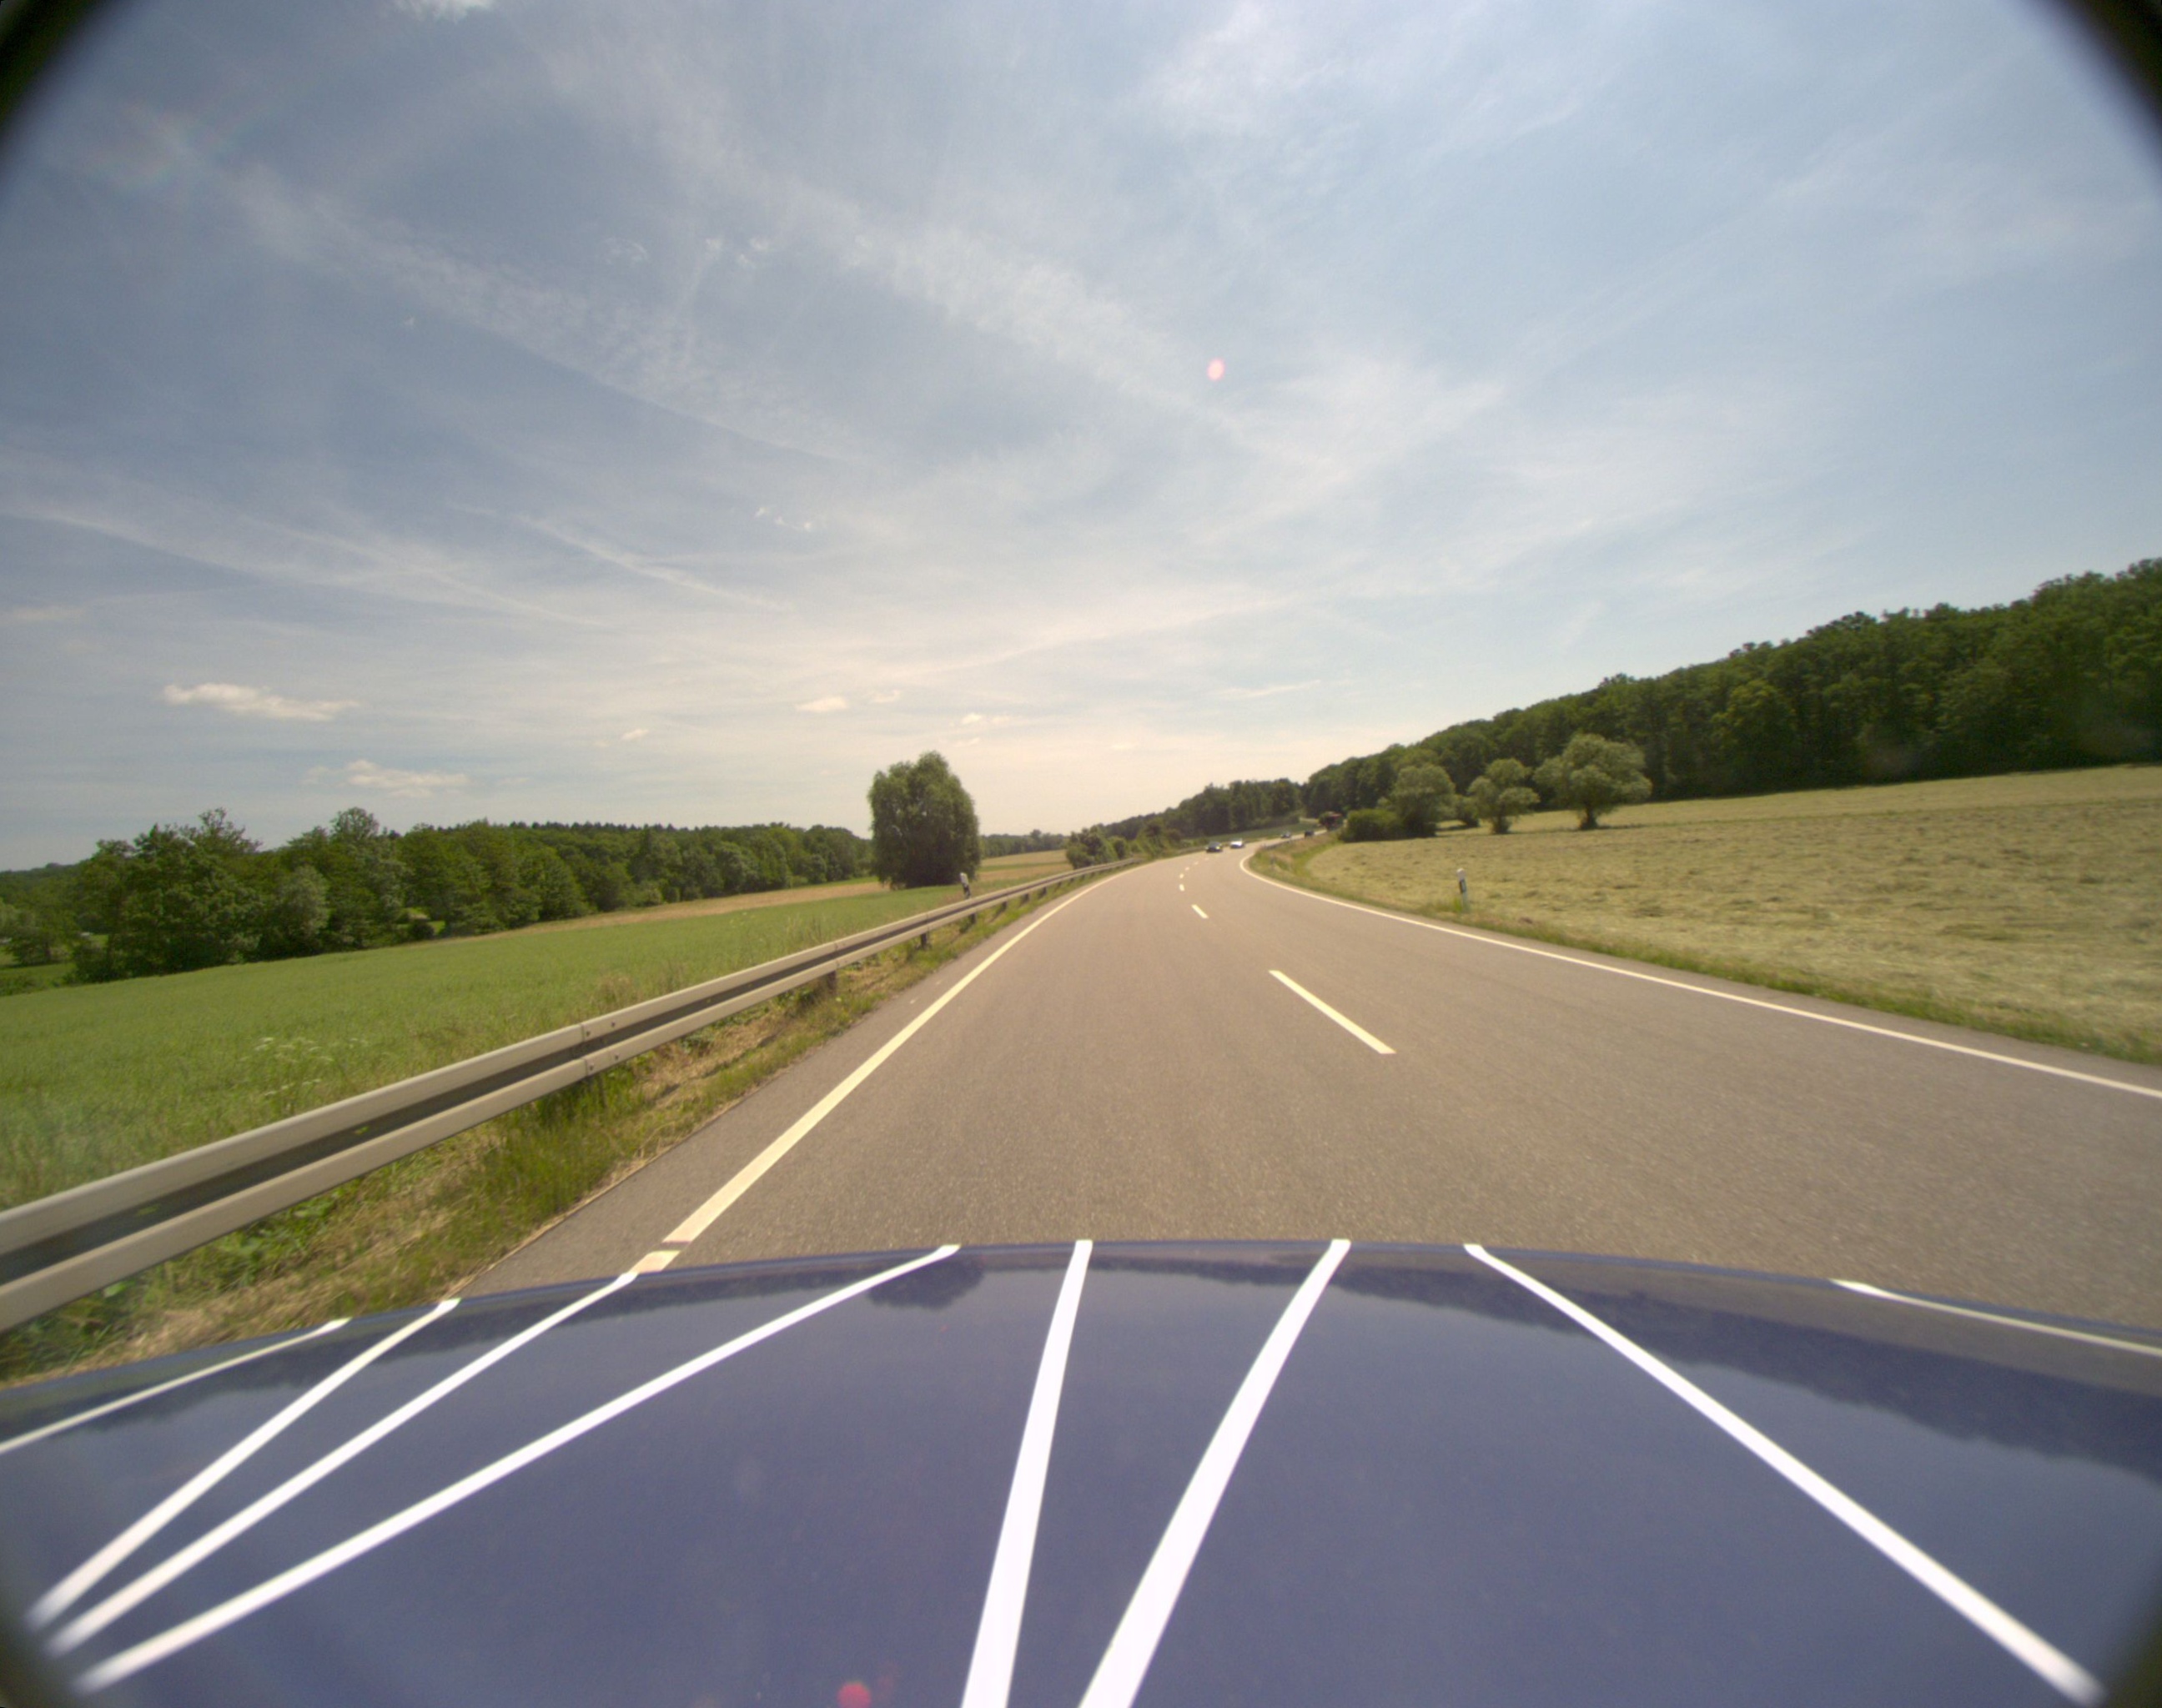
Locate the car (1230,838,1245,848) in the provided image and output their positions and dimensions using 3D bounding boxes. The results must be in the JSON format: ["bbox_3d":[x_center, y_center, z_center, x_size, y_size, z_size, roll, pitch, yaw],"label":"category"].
[{"bbox_3d":[24.349,-1.708,117.985,1.619,1.428,3.446,-3,2,20],"label":"car"}]

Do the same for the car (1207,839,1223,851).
[{"bbox_3d":[17.973,-1.189,101.718,1.619,1.428,3.446,-3,2,17],"label":"car"}]

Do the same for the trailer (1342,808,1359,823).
[{"bbox_3d":[87.742,-12.540,247.009,3.376,4.377,13.763,-1,3,26],"label":"trailer"}]

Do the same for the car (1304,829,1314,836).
[{"bbox_3d":[50.226,-4.668,167.067,1.701,1.461,4.205,-1,2,22],"label":"car"}]

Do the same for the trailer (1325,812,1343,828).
[{"bbox_3d":[68.231,-9.273,204.453,3.244,4.127,14.461,-1,3,24],"label":"trailer"}]

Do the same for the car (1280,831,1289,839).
[{"bbox_3d":[43.910,-4.057,163.897,1.619,1.428,3.447,-3,2,21],"label":"car"}]
